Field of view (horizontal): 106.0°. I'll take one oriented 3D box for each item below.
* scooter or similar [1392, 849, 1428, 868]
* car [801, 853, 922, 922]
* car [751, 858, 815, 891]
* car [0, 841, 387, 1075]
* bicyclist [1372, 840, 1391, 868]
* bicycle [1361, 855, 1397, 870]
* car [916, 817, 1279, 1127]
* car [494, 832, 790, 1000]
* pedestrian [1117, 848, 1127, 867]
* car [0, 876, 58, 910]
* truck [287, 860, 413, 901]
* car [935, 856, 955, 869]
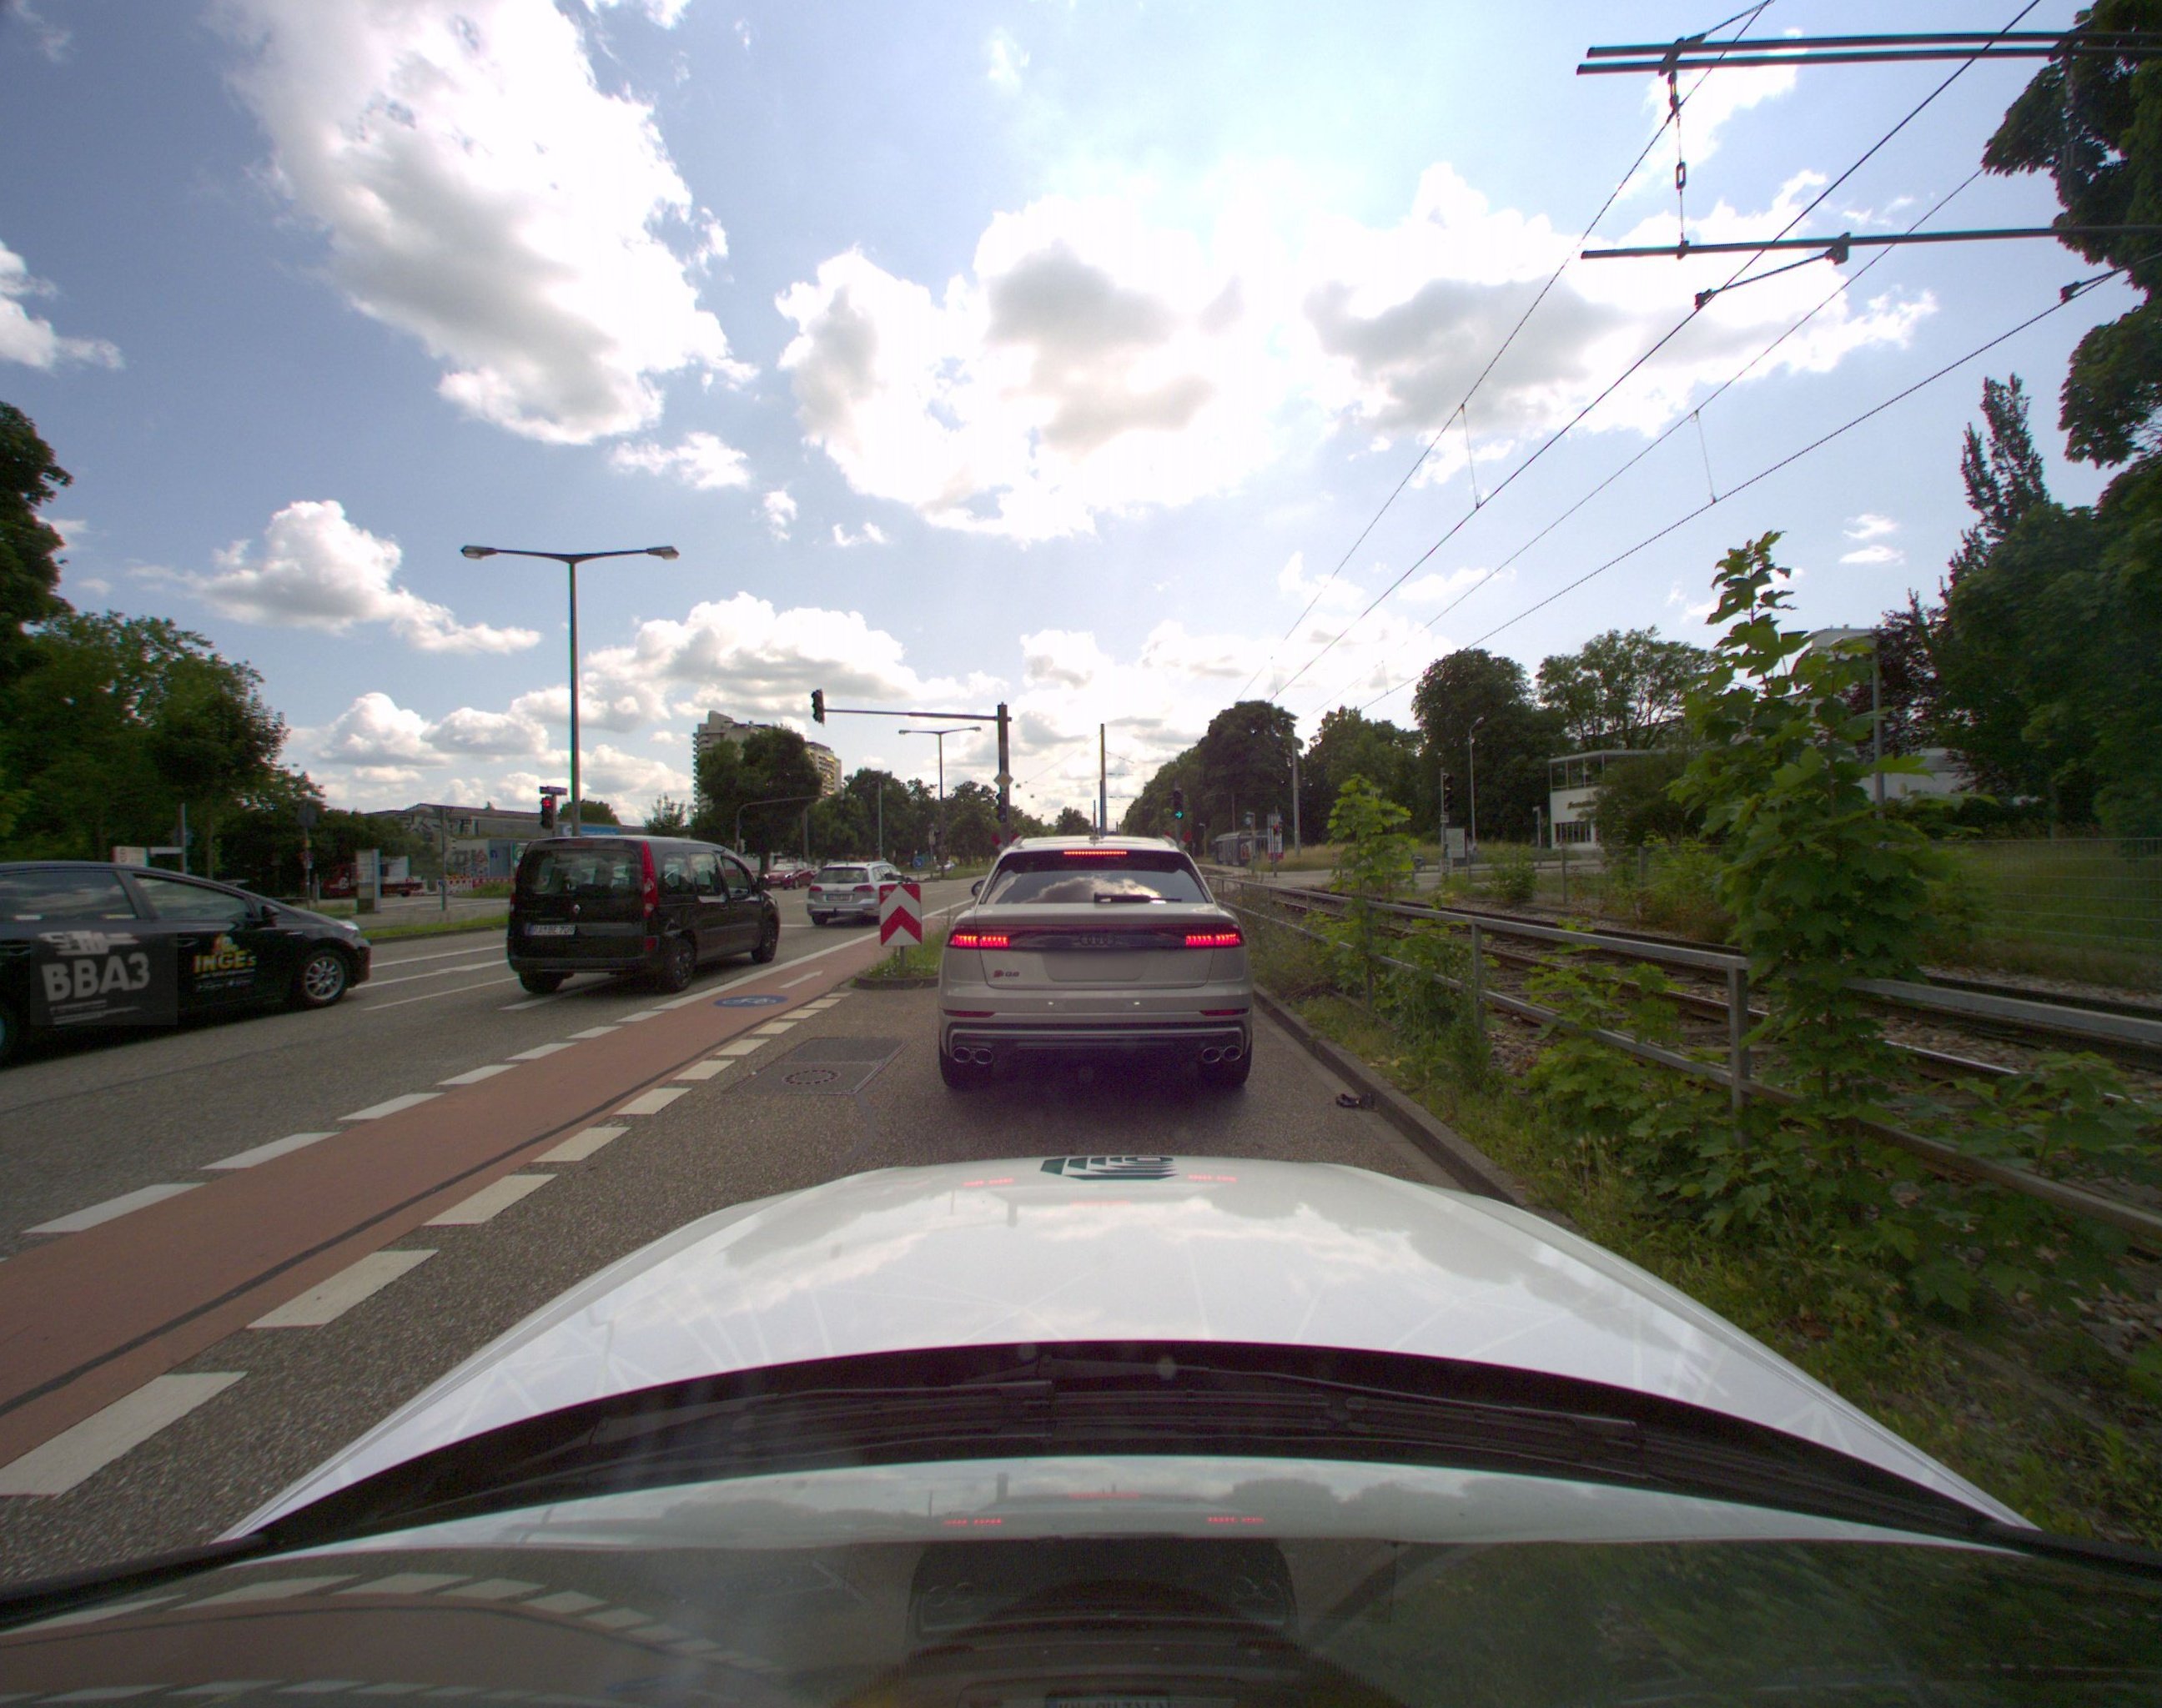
[{"bbox_3d":[17.838,0.241,44.185,1.568,0.979,0.963,-2,-1,3],"label":"scooter or similar"},{"bbox_3d":[-5.300,0.754,20.215,1.779,1.525,4.301,0,-1,1],"label":"car"},{"bbox_3d":[-15.897,1.062,43.722,1.988,1.618,3.998,-2,0,-1],"label":"car"},{"bbox_3d":[-8.625,0.759,6.897,1.780,1.668,4.339,0,-1,0],"label":"car"},{"bbox_3d":[16.331,0.004,44.230,0.835,1.475,0.456,-2,-1,3],"label":"bicyclist"},{"bbox_3d":[16.167,0.447,44.198,1.714,0.765,0.556,-1,-1,3],"label":"bicycle"},{"bbox_3d":[0.159,0.665,6.742,1.974,1.684,4.576,0,-1,2],"label":"car"},{"bbox_3d":[-5.374,0.677,10.637,1.754,1.777,3.908,0,-1,0],"label":"car"},{"bbox_3d":[3.274,0.277,65.316,0.653,1.513,0.716,-2,0,-8],"label":"pedestrian"},{"bbox_3d":[-58.424,2.104,44.516,3.578,1.793,1.946,-1,-1,18],"label":"car"},{"bbox_3d":[-47.486,1.739,52.958,6.906,2.439,3.054,-2,0,19],"label":"truck"},{"bbox_3d":[-16.835,1.045,100.981,1.794,1.432,4.495,-2,0,0],"label":"car"}]
